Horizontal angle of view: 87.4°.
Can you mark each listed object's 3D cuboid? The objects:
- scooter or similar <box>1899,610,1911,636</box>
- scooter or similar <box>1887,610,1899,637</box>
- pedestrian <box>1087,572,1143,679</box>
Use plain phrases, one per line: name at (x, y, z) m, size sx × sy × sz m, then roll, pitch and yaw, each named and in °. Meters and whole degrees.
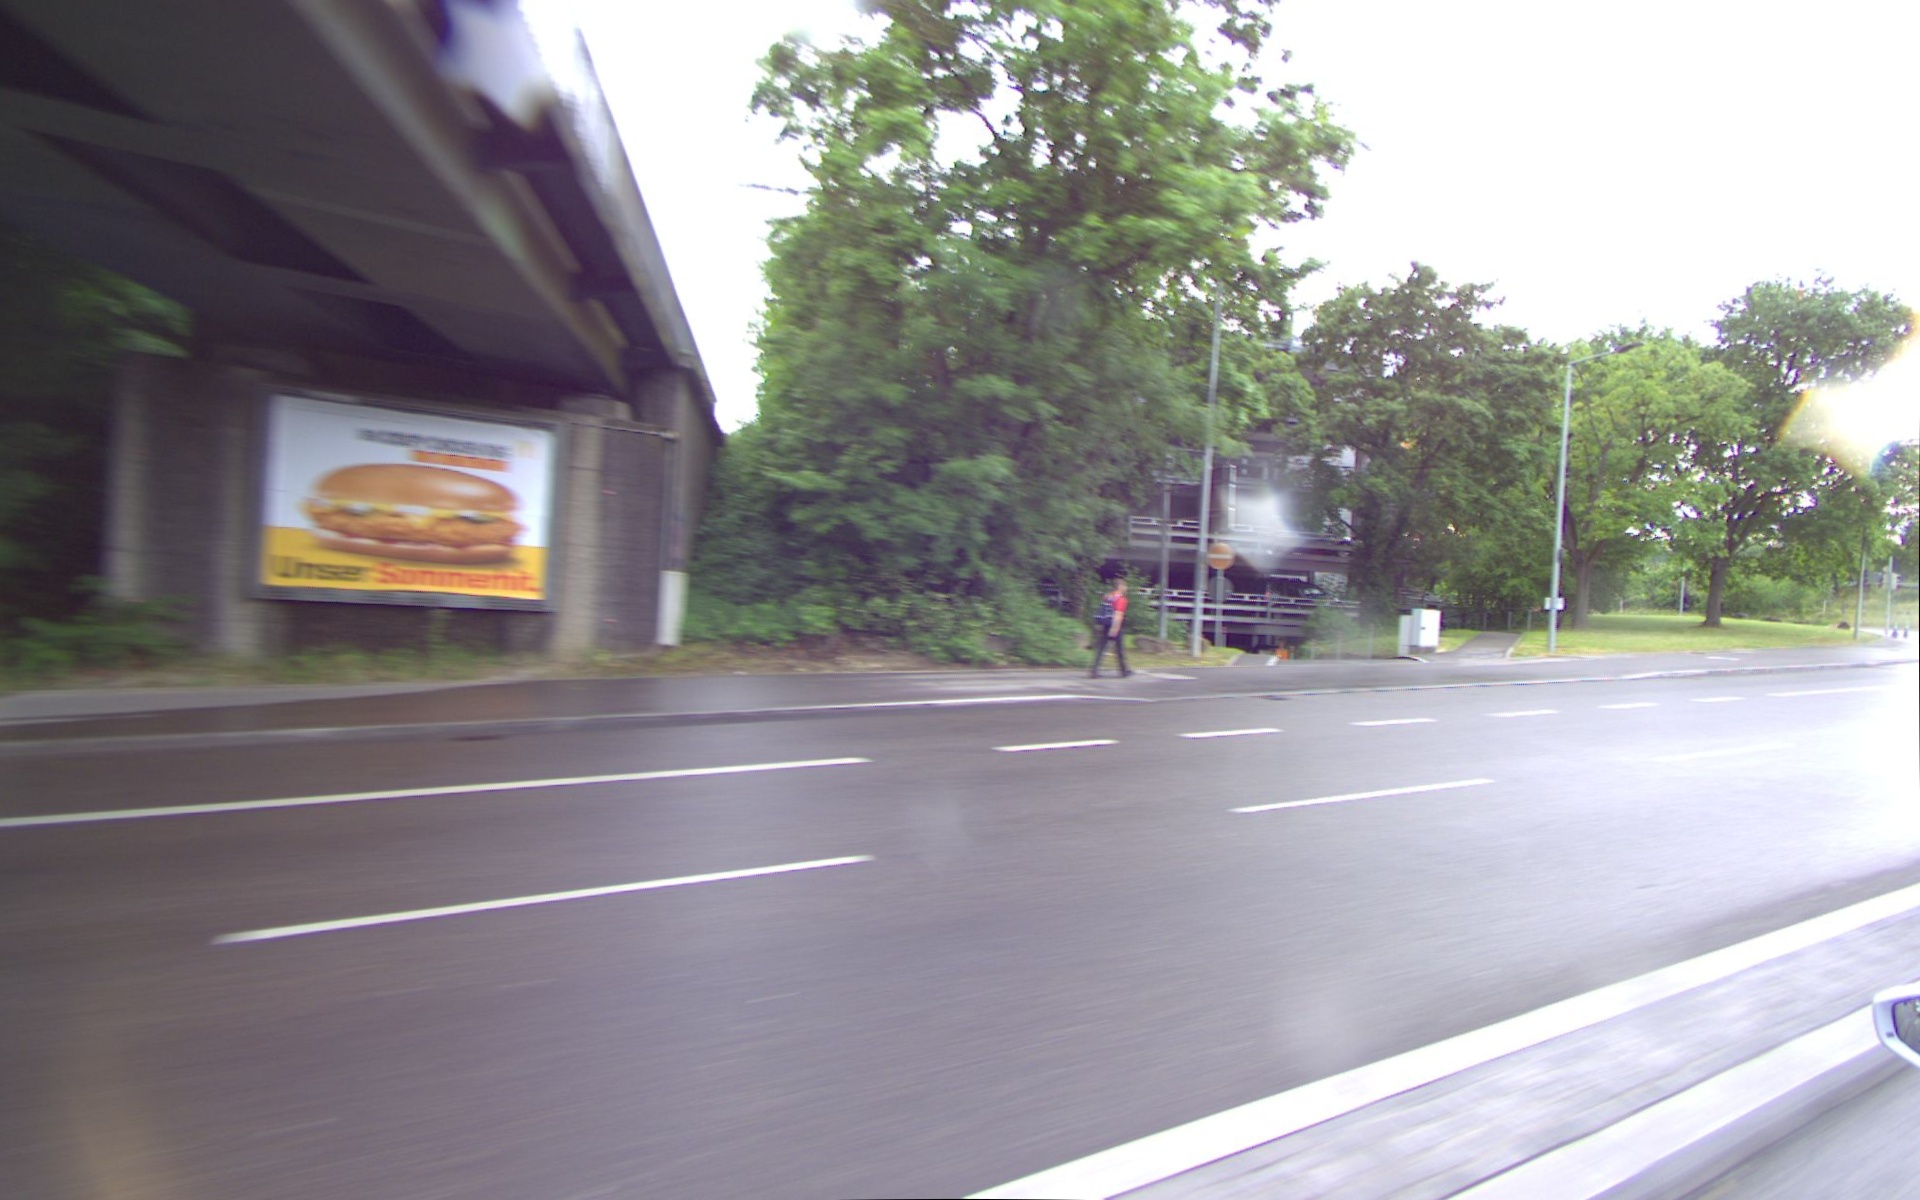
scooter or similar at (45.746, 1.110, 48.634) m, size 1.298 × 1.234 × 0.308 m, roll 0°, pitch 2°, yaw -43°
scooter or similar at (44.326, 1.110, 47.706) m, size 1.298 × 1.234 × 0.308 m, roll 0°, pitch 2°, yaw -44°
pedestrian at (2.740, 0.447, 17.782) m, size 0.787 × 1.840 × 0.519 m, roll 1°, pitch 2°, yaw -19°
